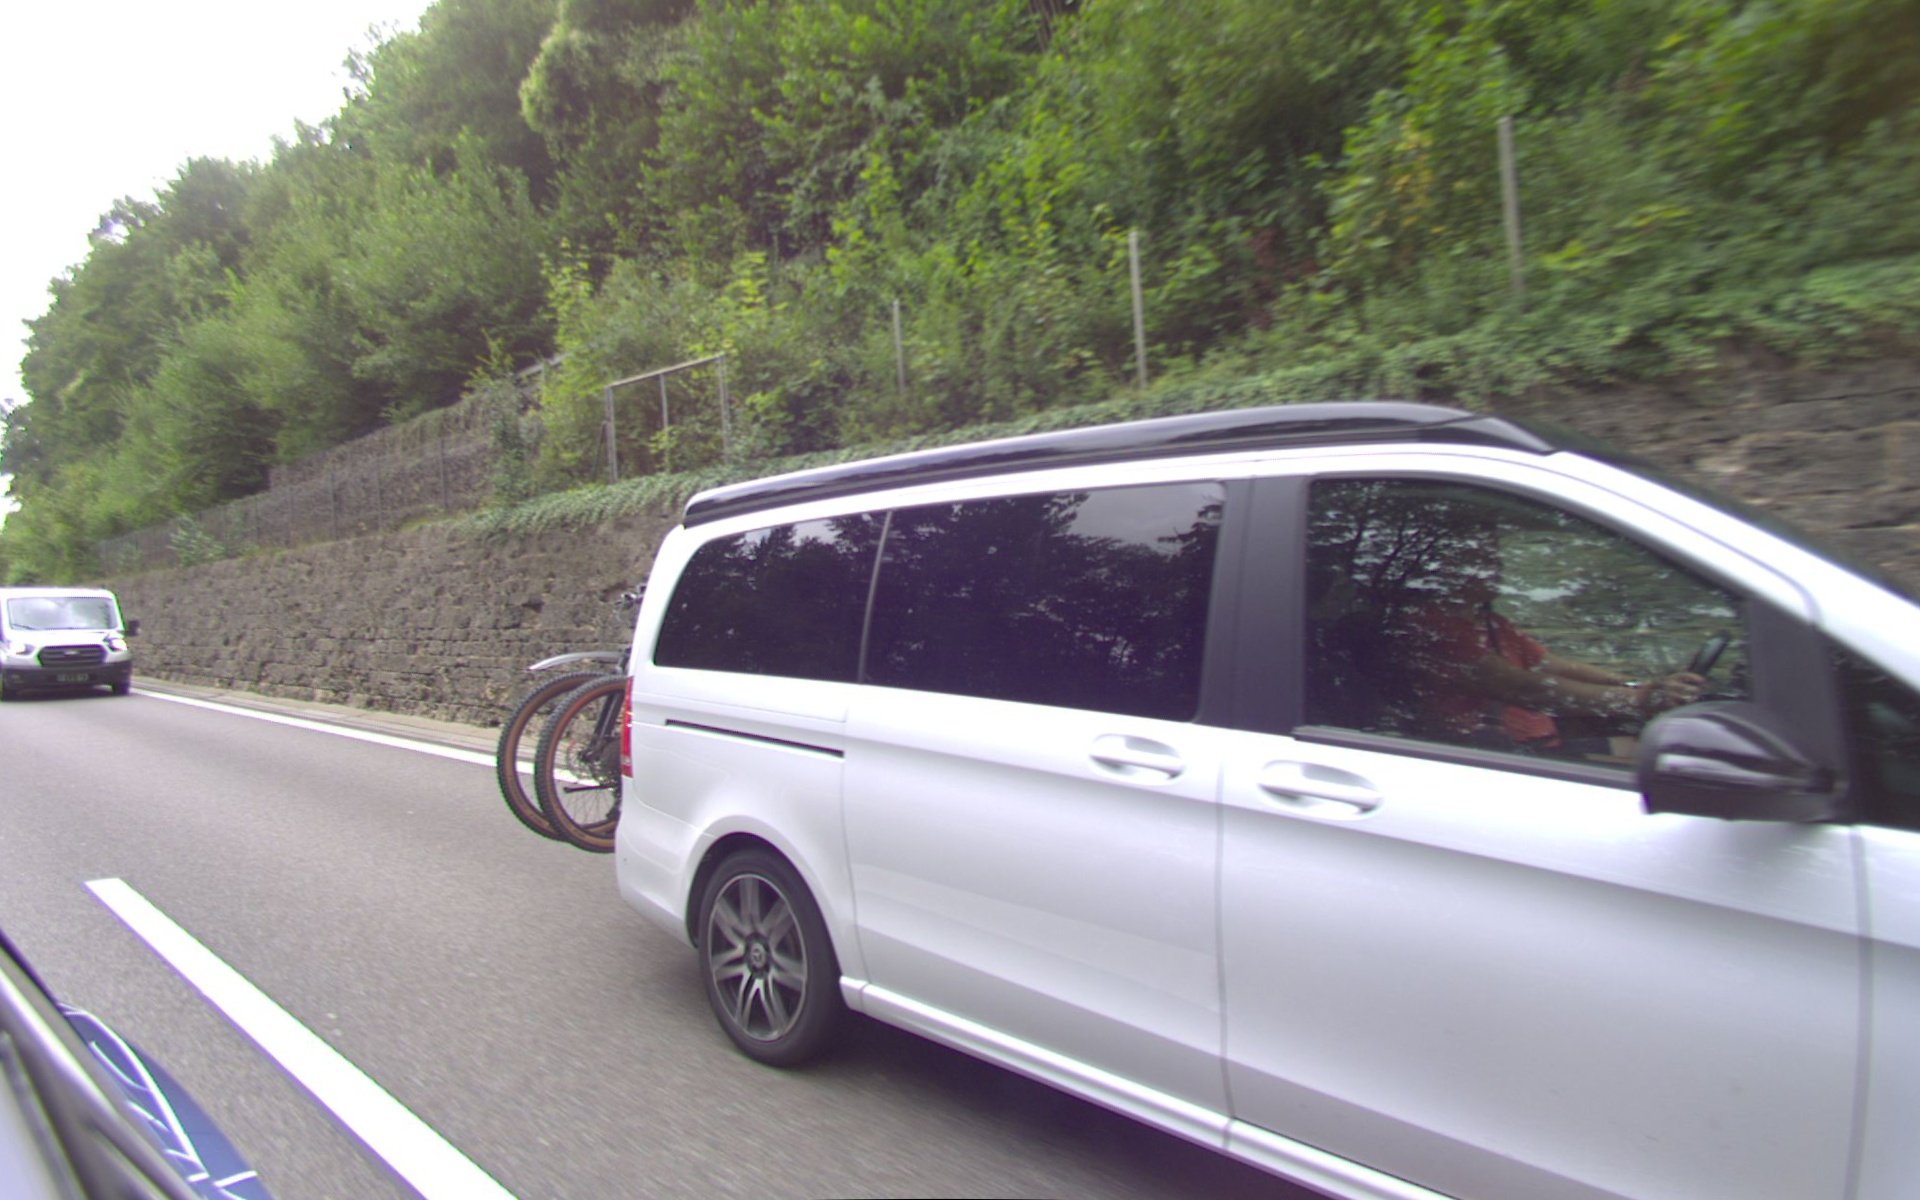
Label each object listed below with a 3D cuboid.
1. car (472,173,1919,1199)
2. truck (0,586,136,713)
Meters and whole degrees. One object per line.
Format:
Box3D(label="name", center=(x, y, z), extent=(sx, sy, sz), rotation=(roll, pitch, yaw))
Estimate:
Box3D(label="car", center=(0.905, 0.425, 3.033), extent=(6.144, 1.967, 1.973), rotation=(-2, -1, 41))
Box3D(label="truck", center=(-19.408, 0.971, 21.387), extent=(6.581, 2.297, 1.973), rotation=(-2, -1, 41))
